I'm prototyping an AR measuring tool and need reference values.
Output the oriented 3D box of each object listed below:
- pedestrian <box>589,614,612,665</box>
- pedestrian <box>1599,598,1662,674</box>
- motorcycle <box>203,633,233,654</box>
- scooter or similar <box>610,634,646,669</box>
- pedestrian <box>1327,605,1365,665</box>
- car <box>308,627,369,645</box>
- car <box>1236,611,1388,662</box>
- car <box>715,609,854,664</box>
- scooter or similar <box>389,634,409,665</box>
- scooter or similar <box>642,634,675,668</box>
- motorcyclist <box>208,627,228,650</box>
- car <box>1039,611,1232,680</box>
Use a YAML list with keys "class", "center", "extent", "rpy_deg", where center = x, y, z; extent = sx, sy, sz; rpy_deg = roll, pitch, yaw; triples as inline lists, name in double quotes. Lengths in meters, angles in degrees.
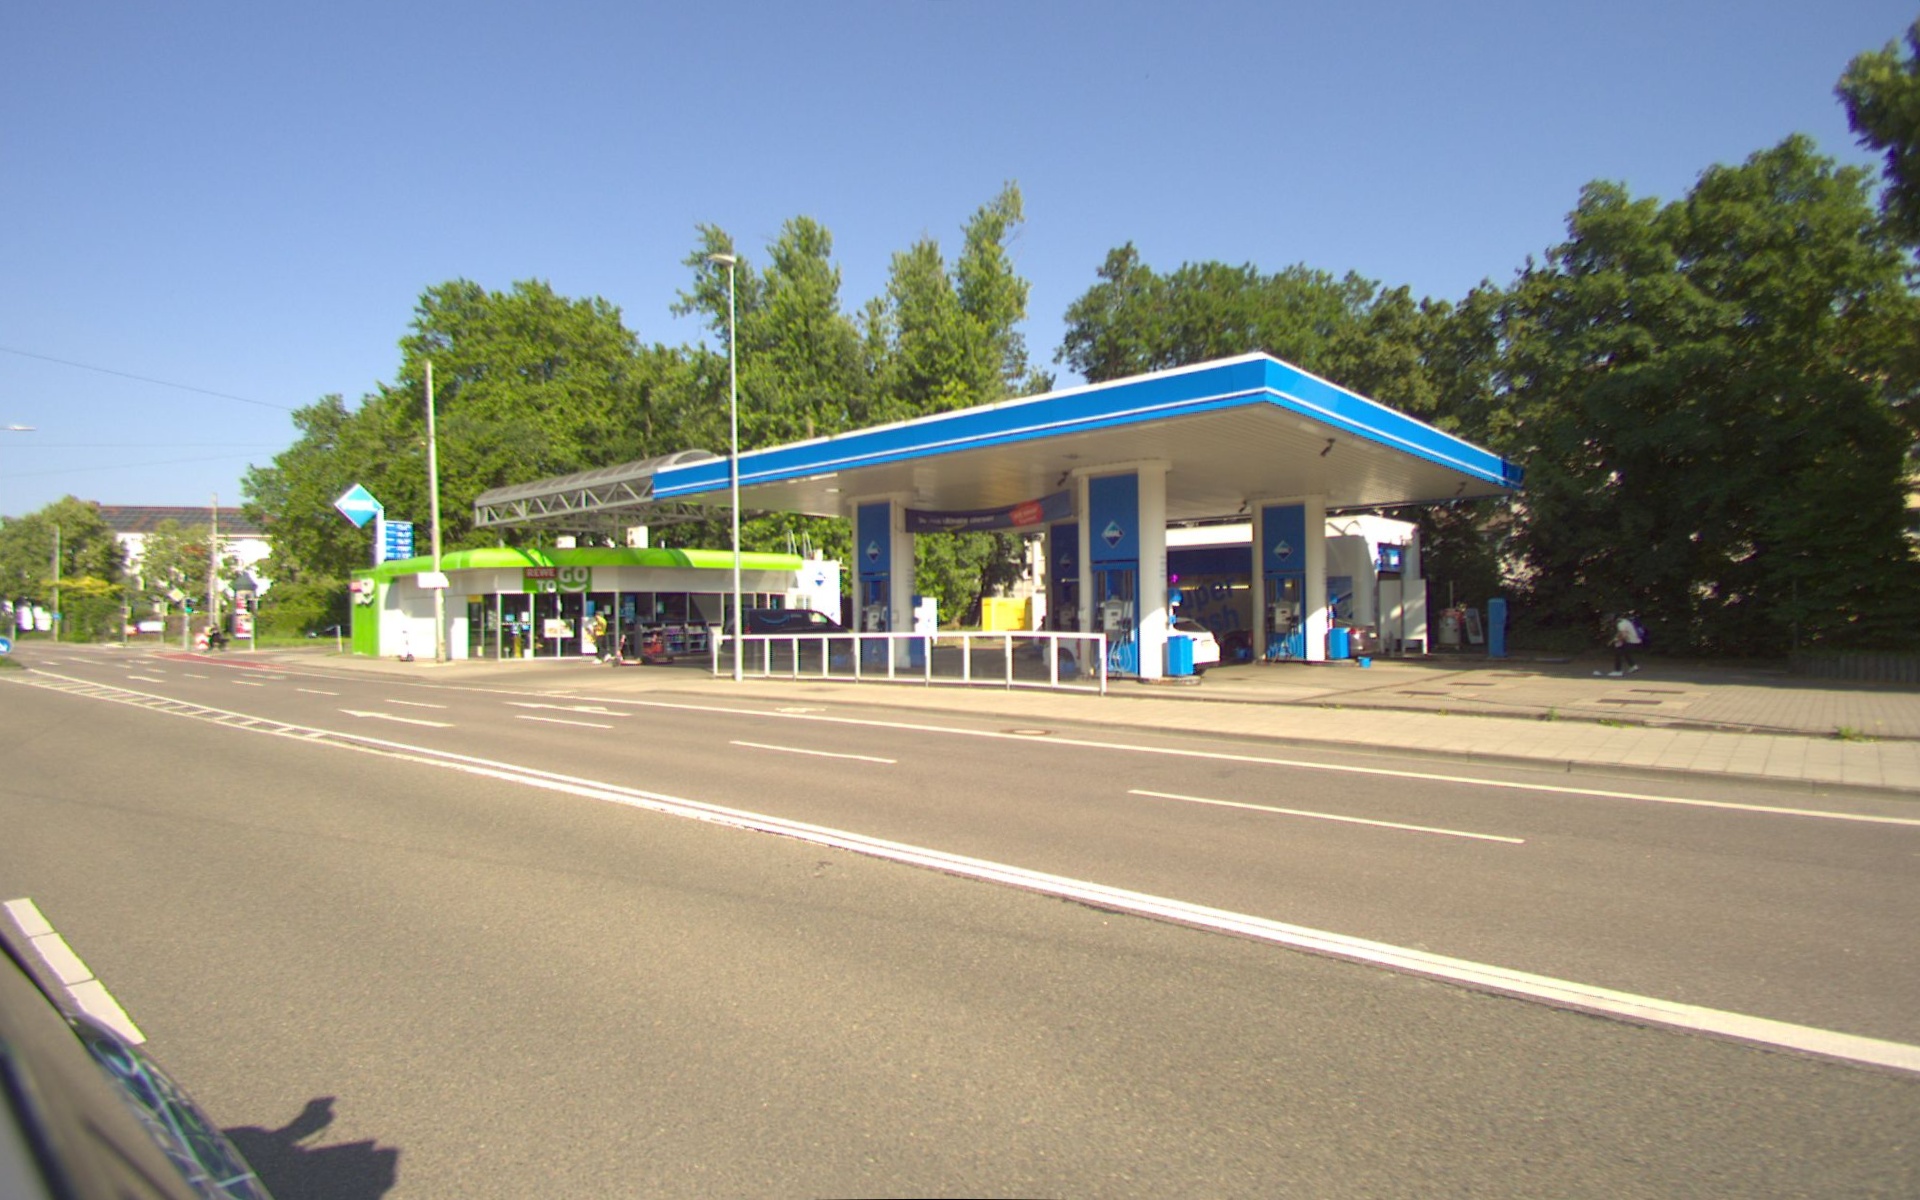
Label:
- class: "pedestrian"
  center: [-12.436, 1.351, 35.010]
  extent: [0.652, 1.744, 0.605]
  rpy_deg: [-1, -2, -7]
- class: "pedestrian"
  center: [15.736, 0.837, 23.756]
  extent: [1.066, 1.726, 0.812]
  rpy_deg: [-2, -2, 44]
- class: "motorcycle"
  center: [-44.590, 2.603, 60.817]
  extent: [0.722, 1.237, 2.270]
  rpy_deg: [0, -1, -16]
- class: "scooter or similar"
  center: [-11.146, 1.717, 33.994]
  extent: [1.127, 1.125, 0.351]
  rpy_deg: [1, -2, -40]
- class: "pedestrian"
  center: [11.132, 0.996, 29.185]
  extent: [0.795, 1.703, 0.807]
  rpy_deg: [-2, -2, 40]
- class: "car"
  center: [-52.514, 3.008, 85.586]
  extent: [1.690, 1.454, 4.140]
  rpy_deg: [-2, -2, 43]
- class: "car"
  center: [10.626, 1.084, 30.697]
  extent: [4.001, 1.457, 1.717]
  rpy_deg: [-2, -2, 44]
- class: "car"
  center: [-6.503, 1.322, 37.966]
  extent: [1.858, 1.955, 5.013]
  rpy_deg: [-2, -2, 45]
- class: "scooter or similar"
  center: [-21.738, 1.916, 39.210]
  extent: [1.143, 1.169, 0.345]
  rpy_deg: [-2, -2, 42]
- class: "scooter or similar"
  center: [-10.359, 1.737, 34.773]
  extent: [1.016, 1.118, 0.351]
  rpy_deg: [1, -2, -43]
- class: "motorcyclist"
  center: [-44.595, 2.318, 60.818]
  extent: [0.722, 1.399, 0.867]
  rpy_deg: [0, -2, -16]
- class: "car"
  center: [4.106, 1.039, 24.117]
  extent: [4.273, 1.502, 1.718]
  rpy_deg: [-2, -2, 42]
